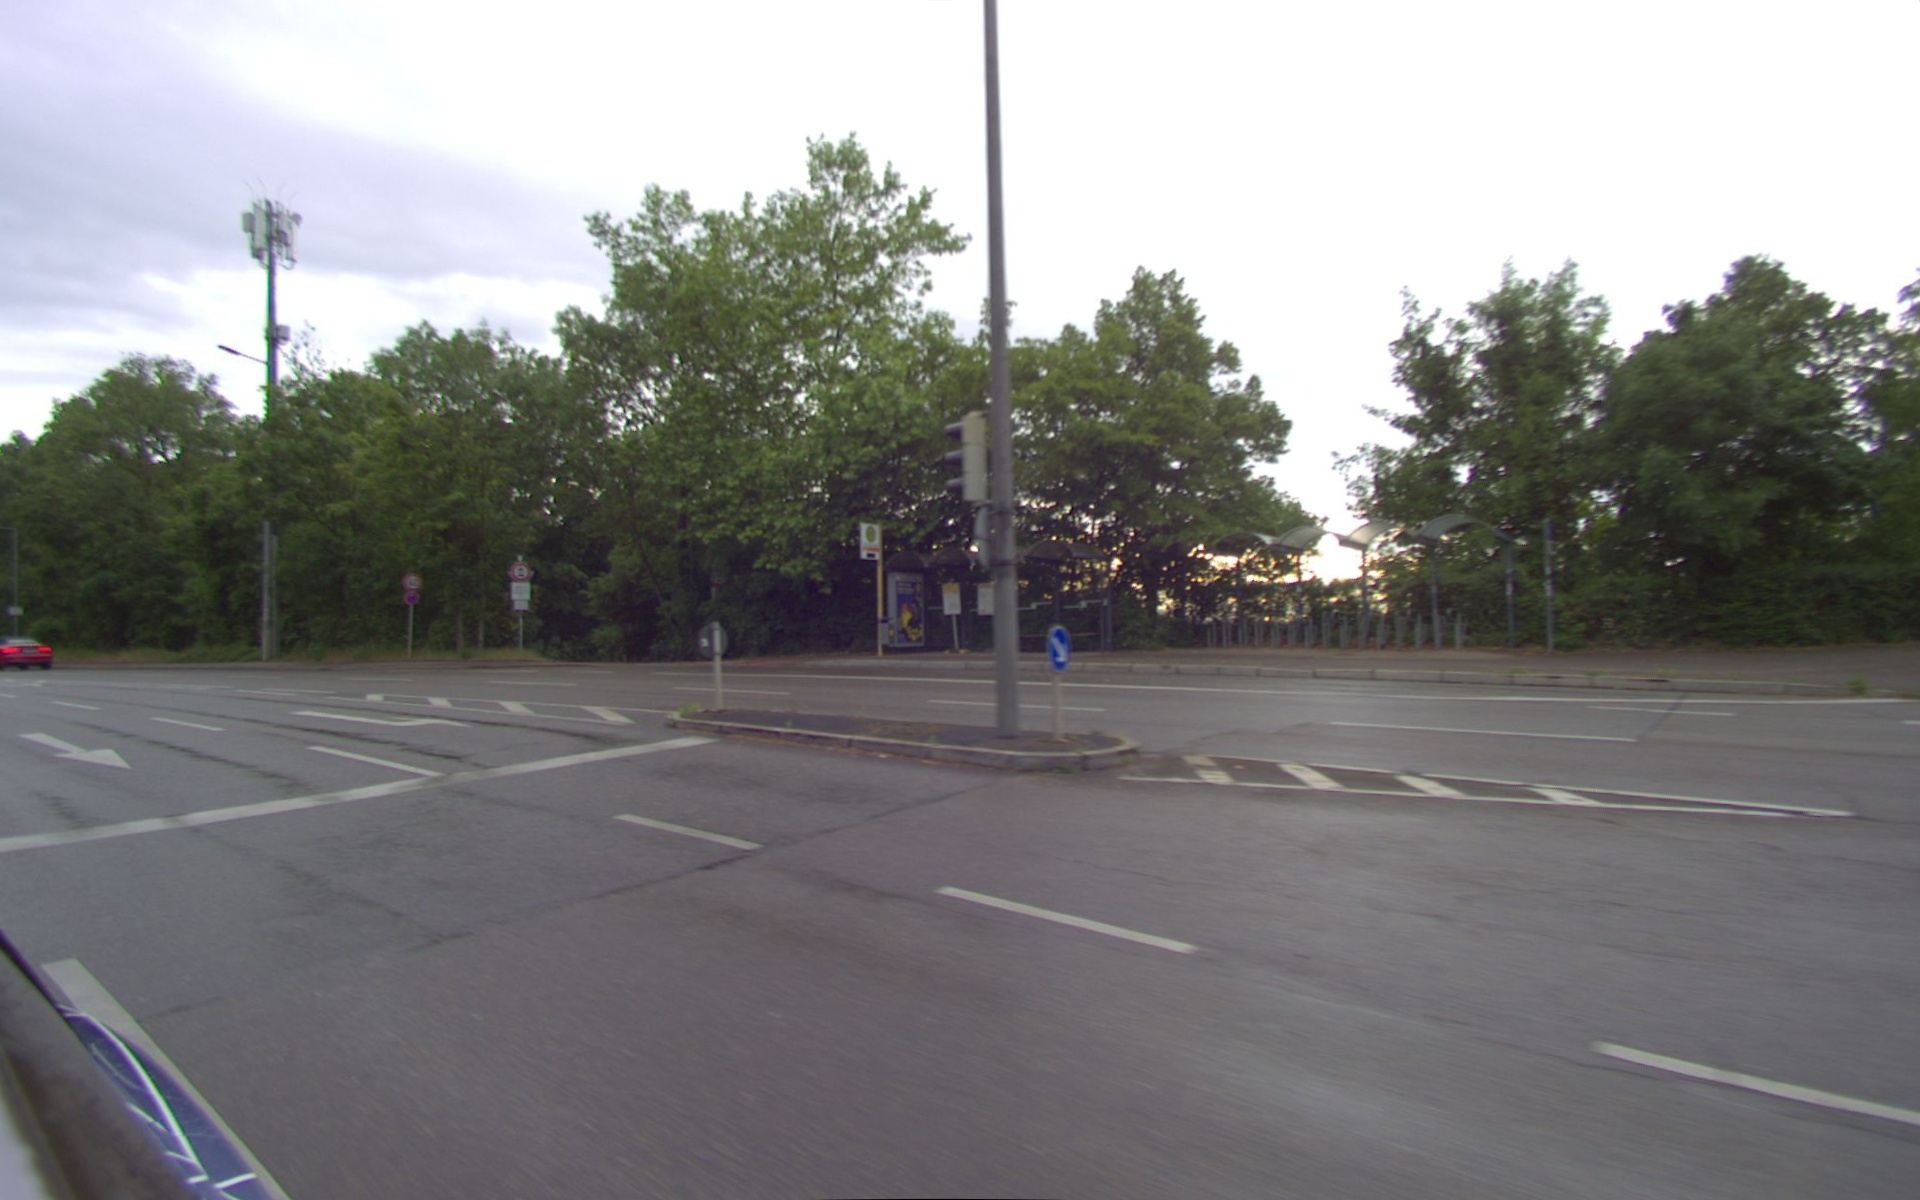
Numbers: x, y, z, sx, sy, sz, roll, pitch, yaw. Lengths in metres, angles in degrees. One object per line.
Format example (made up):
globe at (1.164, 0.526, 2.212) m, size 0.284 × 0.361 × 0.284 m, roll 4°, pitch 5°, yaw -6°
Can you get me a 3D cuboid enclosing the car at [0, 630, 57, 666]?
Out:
car at (-39.036, 1.965, 41.461) m, size 4.368 × 1.384 × 1.862 m, roll -2°, pitch -2°, yaw 31°
